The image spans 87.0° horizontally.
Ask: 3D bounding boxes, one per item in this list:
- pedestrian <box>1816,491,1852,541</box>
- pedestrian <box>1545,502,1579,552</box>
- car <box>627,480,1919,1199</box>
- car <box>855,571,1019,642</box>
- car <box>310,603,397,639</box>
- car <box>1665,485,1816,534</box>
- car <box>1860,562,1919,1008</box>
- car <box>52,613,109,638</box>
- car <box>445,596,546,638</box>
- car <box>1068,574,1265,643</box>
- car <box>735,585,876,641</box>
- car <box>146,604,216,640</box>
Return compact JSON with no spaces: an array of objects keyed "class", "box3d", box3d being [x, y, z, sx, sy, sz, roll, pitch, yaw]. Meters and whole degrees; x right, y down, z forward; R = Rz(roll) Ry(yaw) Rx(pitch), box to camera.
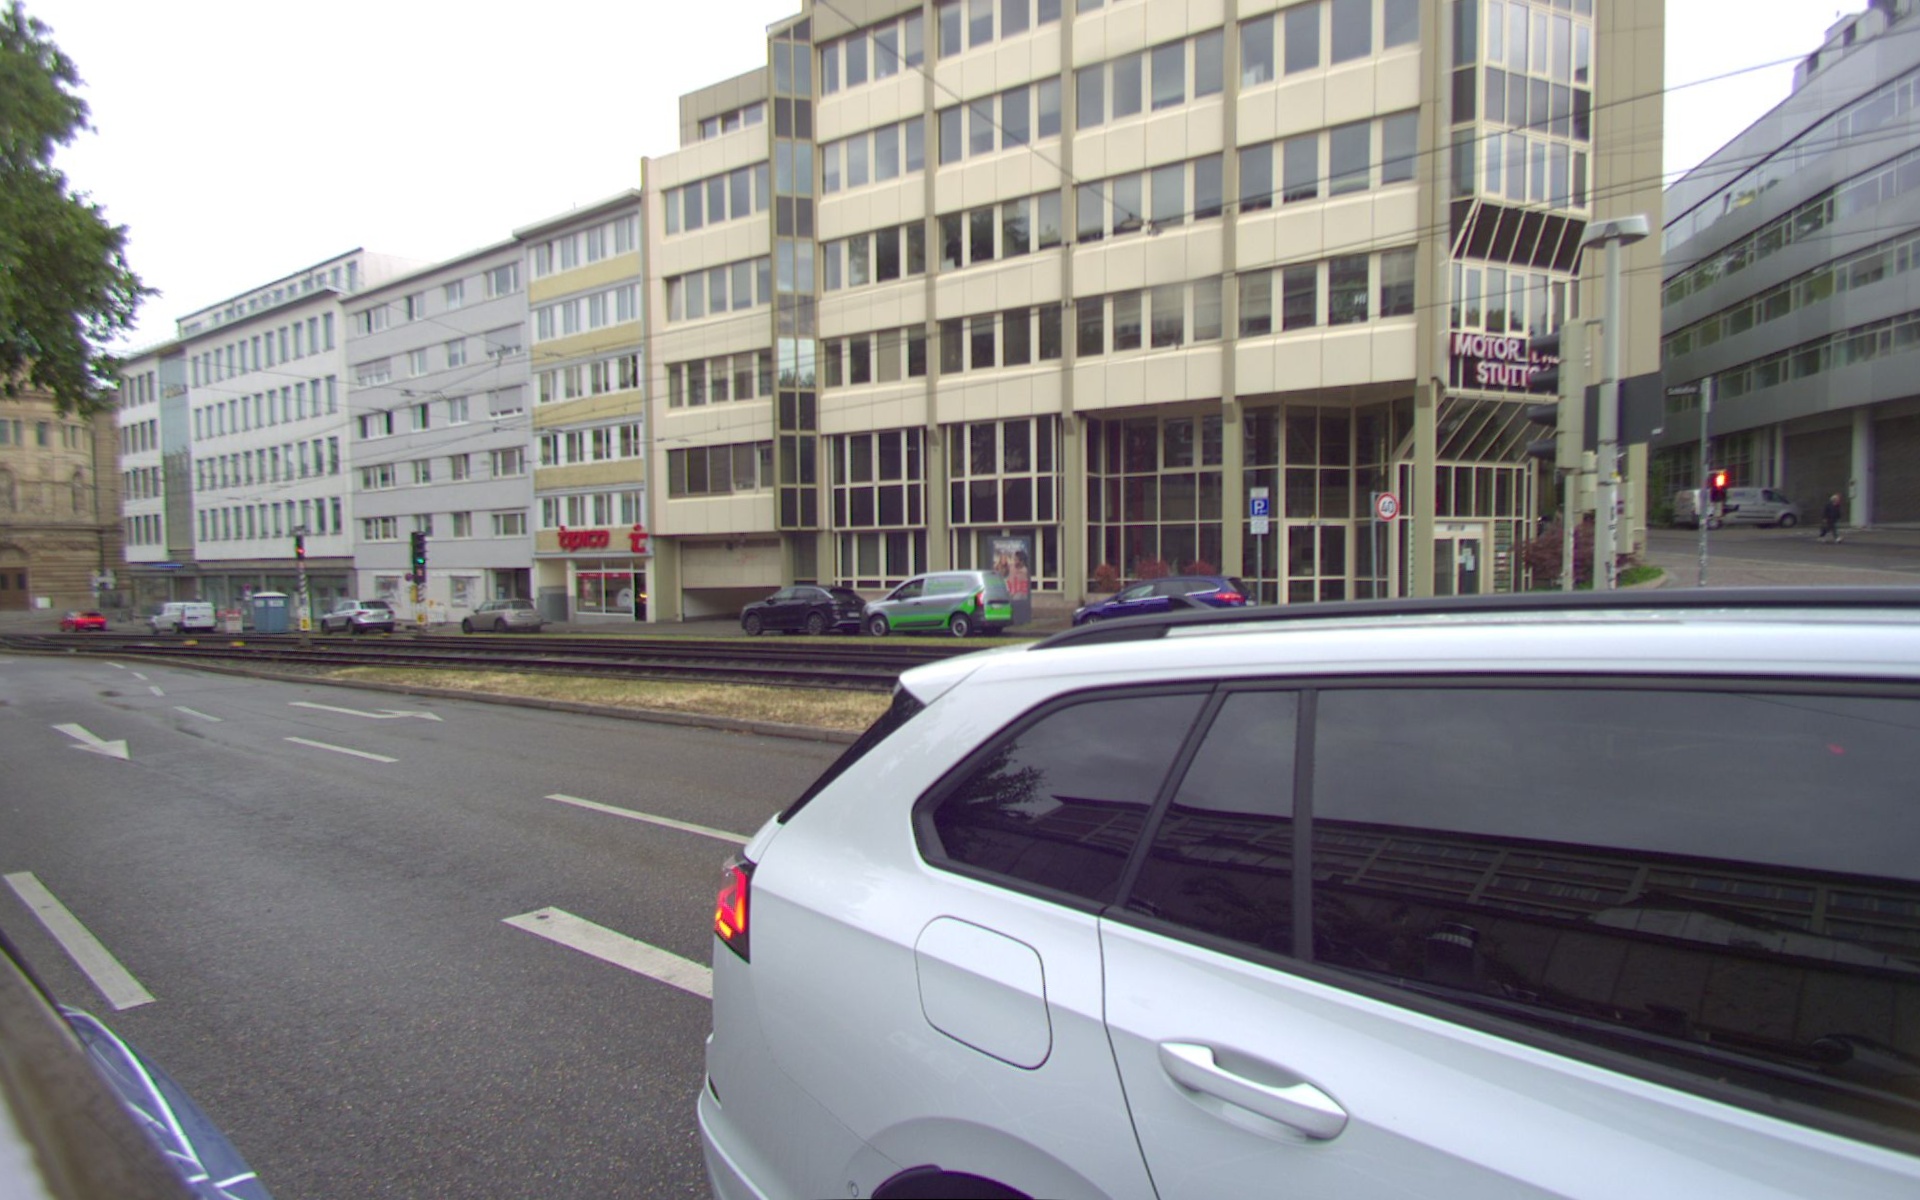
[{"class":"pedestrian","box3d":[33.922,-3.256,39.286,0.711,1.874,0.847,-2,3,6]},{"class":"pedestrian","box3d":[22.667,-2.739,38.116,0.821,1.800,0.759,-2,3,6]},{"class":"car","box3d":[1.616,0.624,1.162,4.473,1.453,1.777,-1,0,41]},{"class":"car","box3d":[-0.670,0.172,27.865,4.204,1.759,1.782,-1,2,33]},{"class":"car","box3d":[-28.306,0.952,47.209,4.066,1.524,1.869,-1,3,34]},{"class":"car","box3d":[37.630,-4.346,48.939,5.357,2.029,1.993,-1,0,12]},{"class":"car","box3d":[5.306,0.575,2.559,4.473,1.453,1.777,-1,0,41]},{"class":"car","box3d":[-62.204,1.784,71.556,4.465,1.636,1.869,-1,3,34]},{"class":"car","box3d":[-18.710,0.669,40.707,4.066,1.524,1.782,-1,3,34]},{"class":"car","box3d":[4.822,0.195,23.851,4.207,1.488,1.780,-1,0,35]},{"class":"car","box3d":[-4.712,0.381,30.755,4.066,1.524,1.782,-1,3,34]},{"class":"car","box3d":[-46.546,1.294,60.452,4.465,1.949,1.869,-1,3,34]}]
